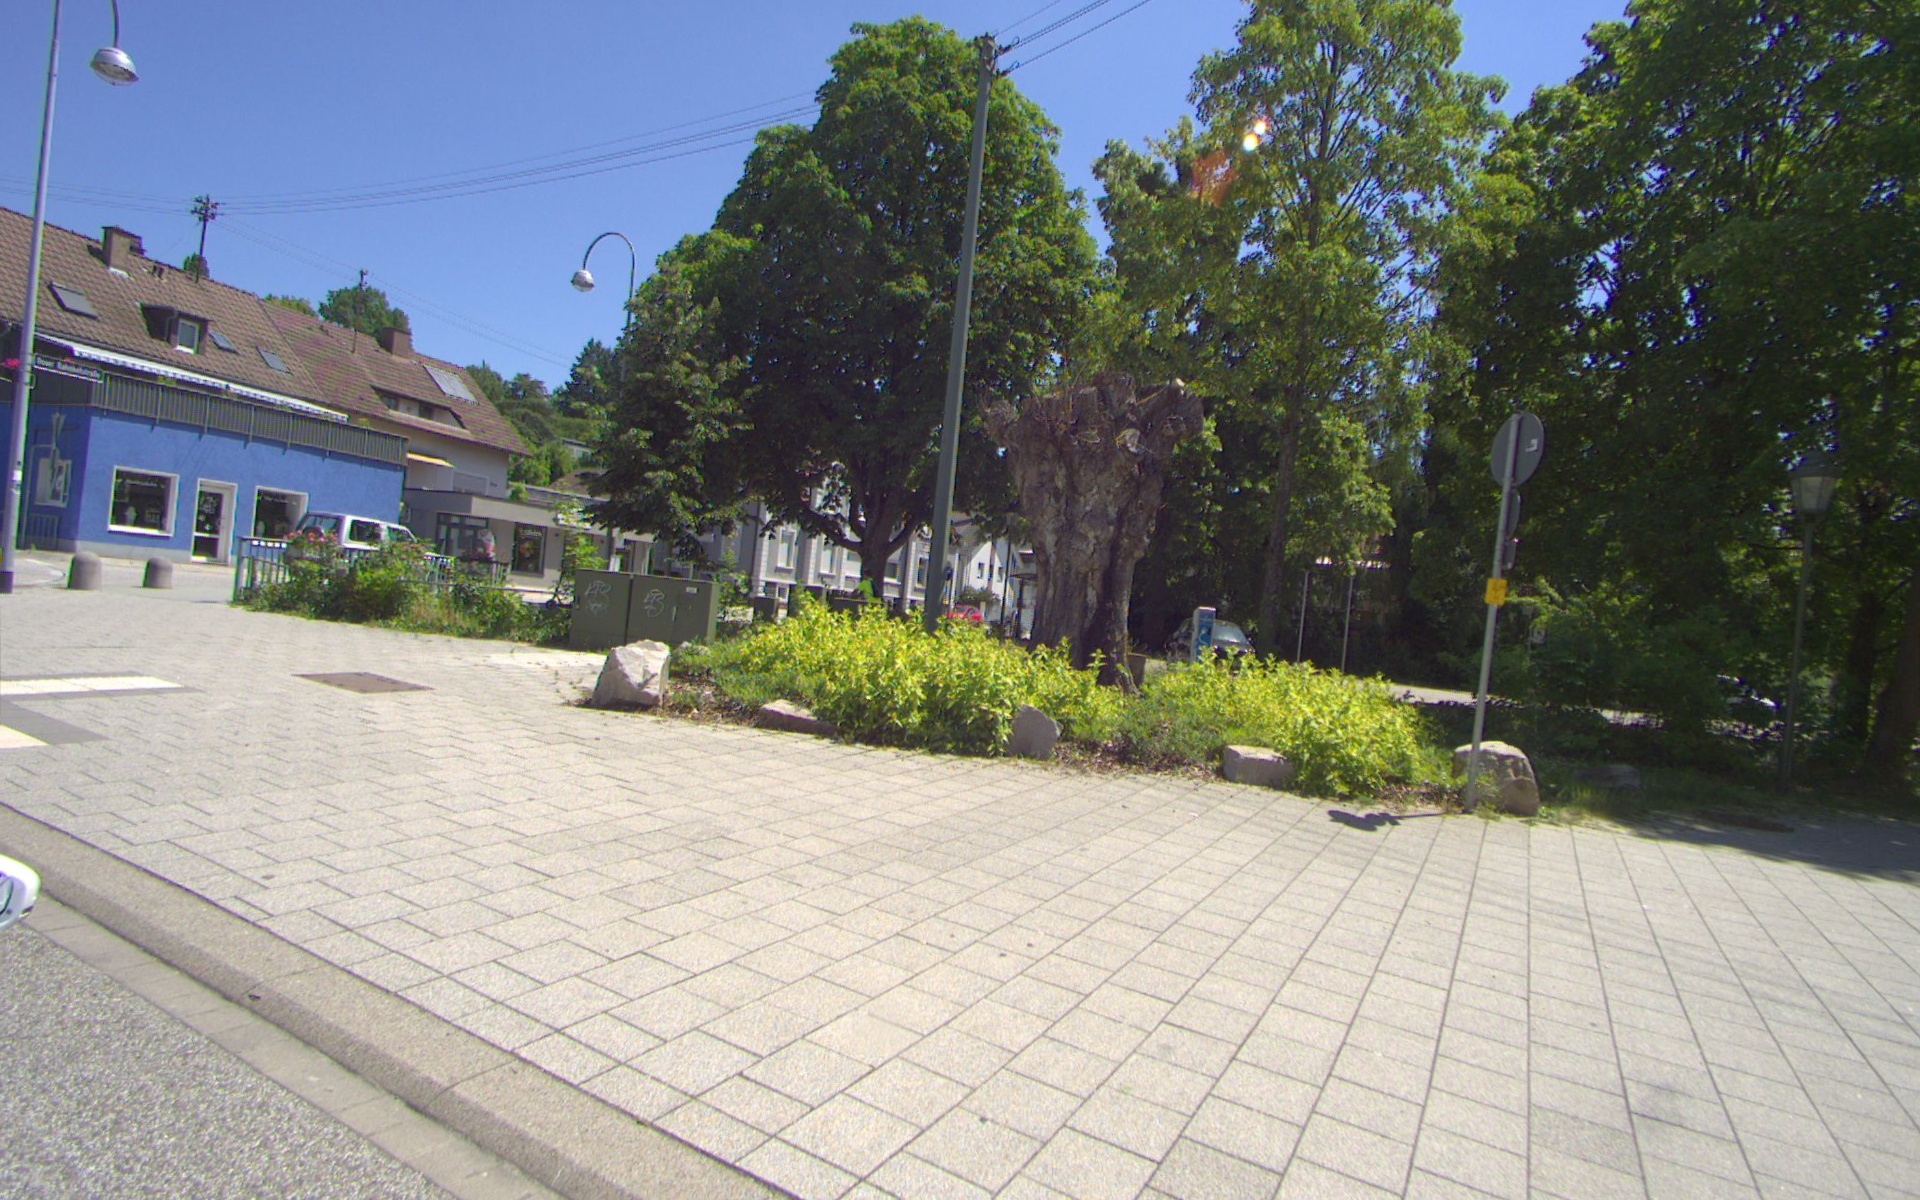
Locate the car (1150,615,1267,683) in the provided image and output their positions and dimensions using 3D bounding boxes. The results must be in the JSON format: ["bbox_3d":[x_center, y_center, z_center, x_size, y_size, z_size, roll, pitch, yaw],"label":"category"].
[{"bbox_3d":[6.719,1.298,27.650,1.645,1.472,3.755,6,0,-9],"label":"car"}]

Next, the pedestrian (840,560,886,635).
[{"bbox_3d":[-2.257,-0.048,23.523,0.705,1.652,0.747,6,1,15],"label":"pedestrian"}]

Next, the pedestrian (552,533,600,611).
[{"bbox_3d":[-9.392,-0.684,24.616,0.667,1.824,0.738,6,3,18],"label":"pedestrian"}]

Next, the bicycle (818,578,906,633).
[{"bbox_3d":[-2.293,0.130,23.571,1.814,1.097,0.747,6,1,15],"label":"bicycle"}]

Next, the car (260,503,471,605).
[{"bbox_3d":[-14.634,-1.060,25.072,1.731,1.897,4.233,6,-2,21],"label":"car"}]

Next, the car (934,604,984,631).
[{"bbox_3d":[-0.009,1.188,68.099,1.747,1.571,3.672,5,-1,28],"label":"car"}]
